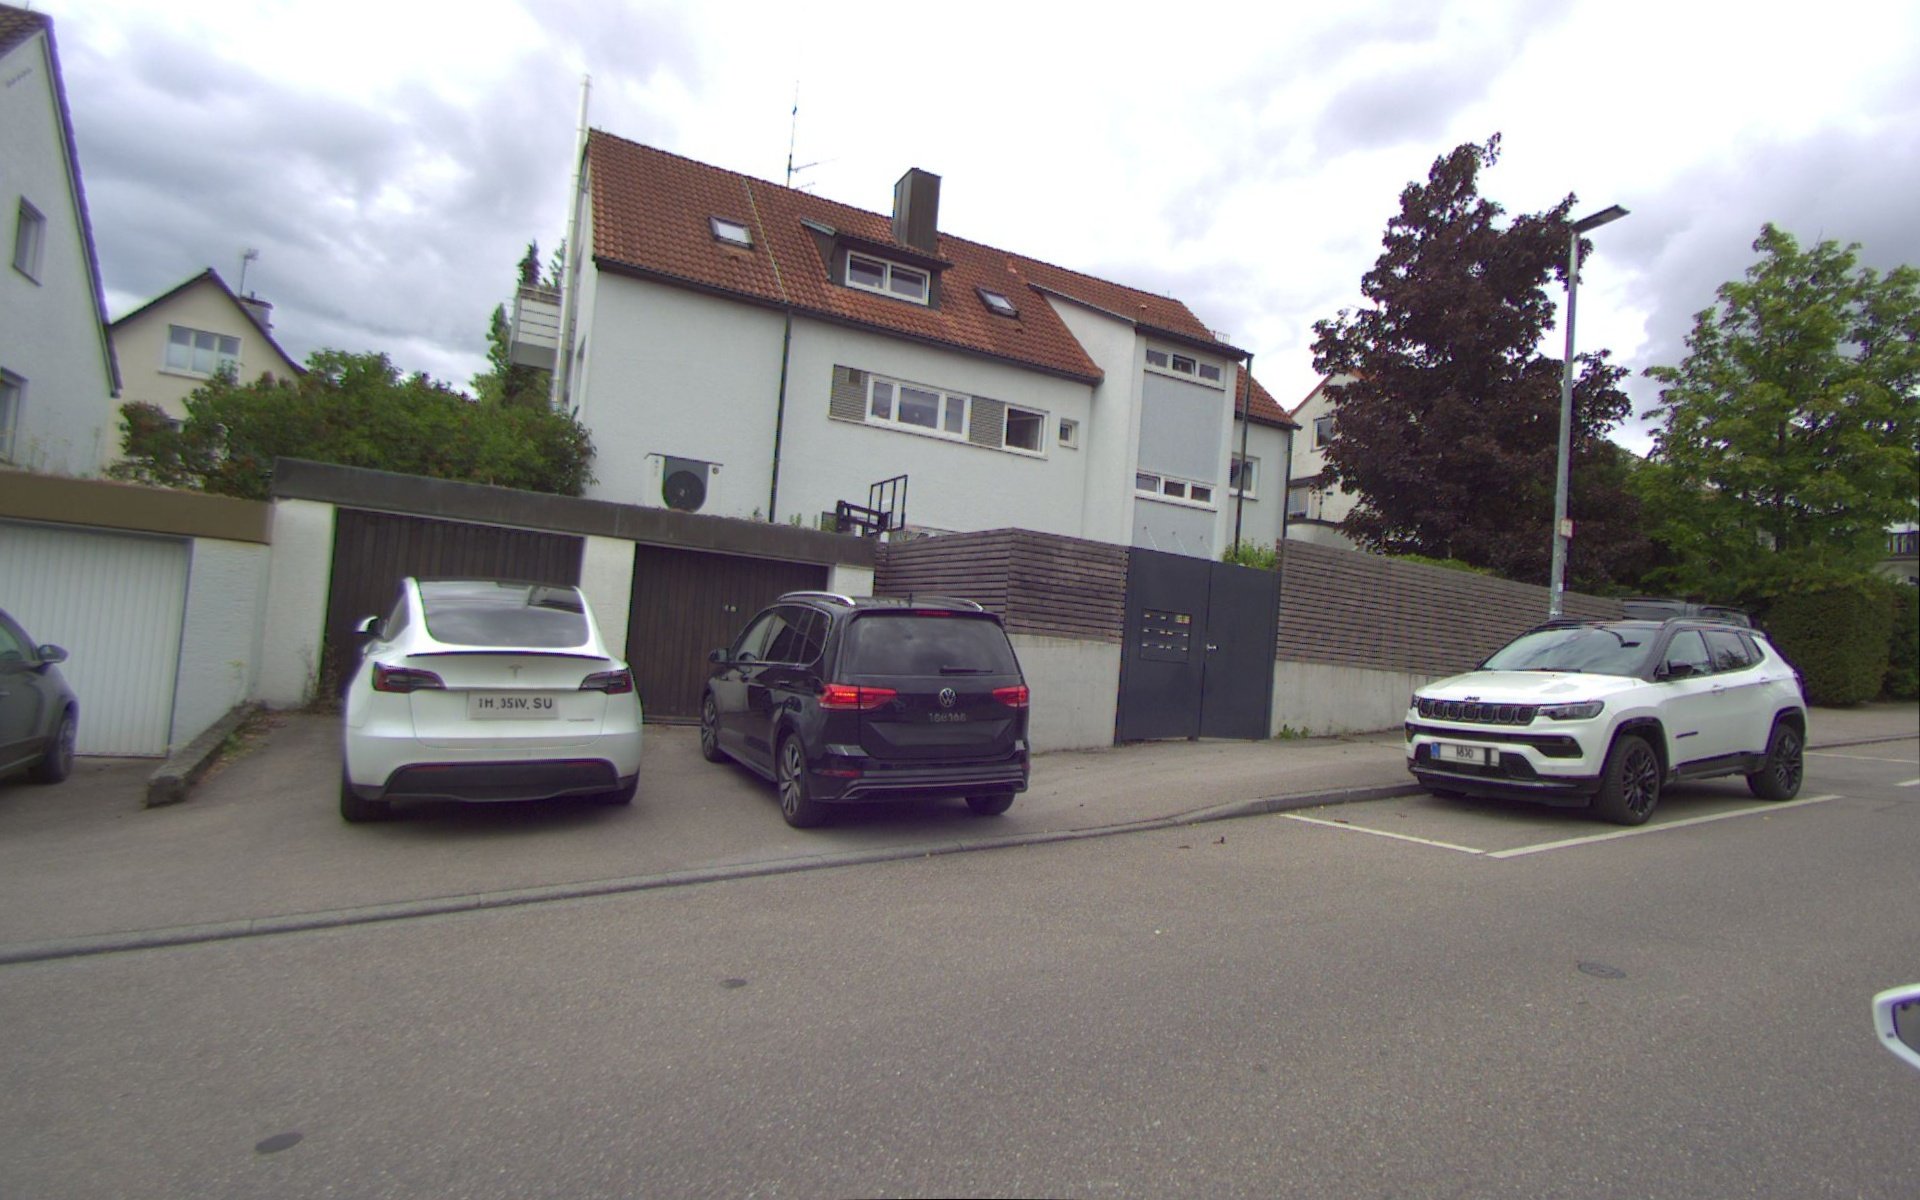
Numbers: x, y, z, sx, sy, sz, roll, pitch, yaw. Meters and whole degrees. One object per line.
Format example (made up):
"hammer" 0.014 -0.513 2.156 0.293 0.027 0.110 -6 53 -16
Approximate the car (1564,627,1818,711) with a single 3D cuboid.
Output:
"car" 14.856 1.359 20.706 1.750 1.464 3.985 2 -1 -17

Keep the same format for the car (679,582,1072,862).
"car" -1.019 0.759 8.599 1.830 1.633 4.280 2 2 -27

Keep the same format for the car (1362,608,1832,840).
"car" 5.910 0.996 9.226 4.355 1.688 1.829 2 -3 -30

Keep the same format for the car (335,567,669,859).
"car" -3.915 0.626 8.245 1.889 1.650 4.389 2 1 -30

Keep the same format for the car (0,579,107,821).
"car" -7.328 0.636 6.764 1.672 1.532 3.414 3 0 -28

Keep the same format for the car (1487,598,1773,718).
"car" 12.388 1.024 18.890 1.971 1.975 4.065 3 -2 -21
